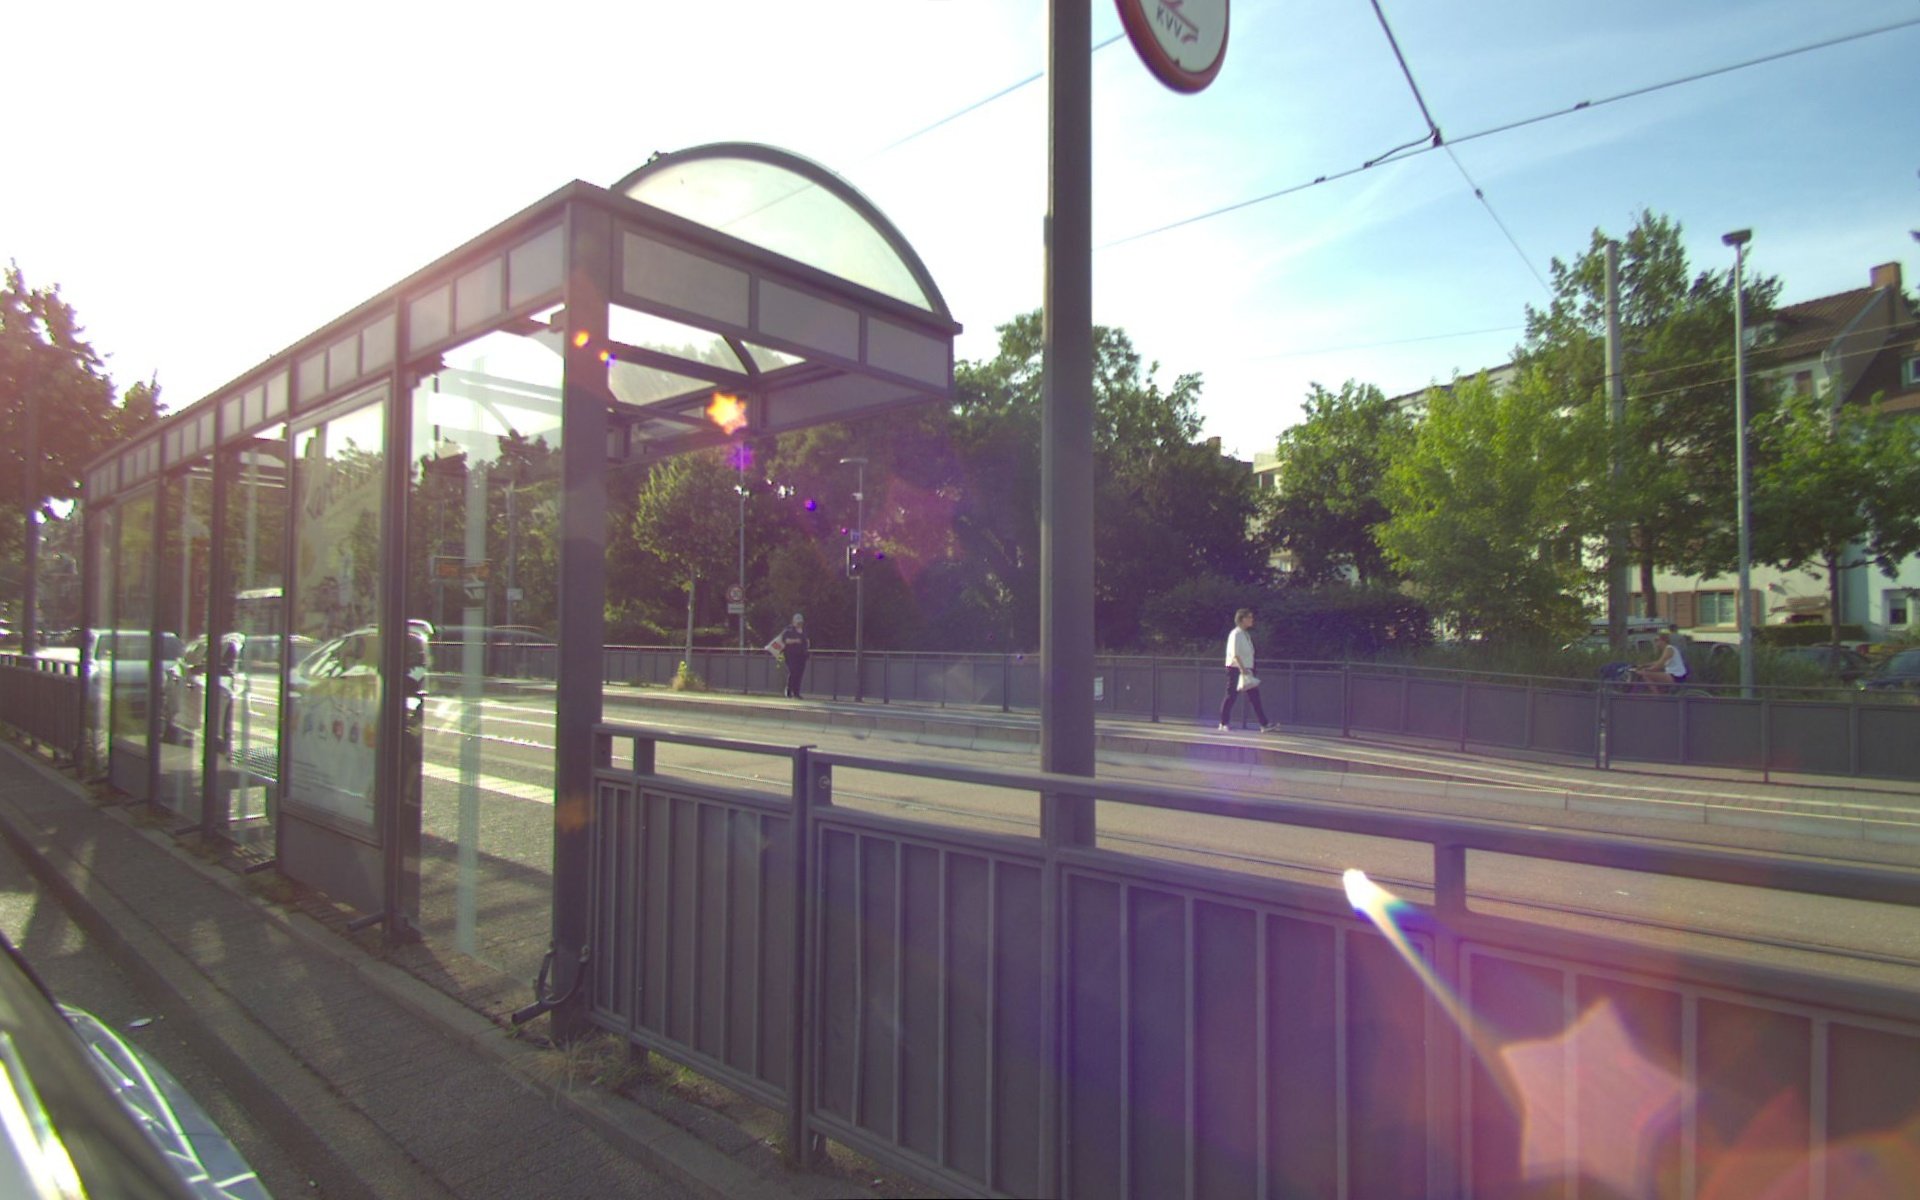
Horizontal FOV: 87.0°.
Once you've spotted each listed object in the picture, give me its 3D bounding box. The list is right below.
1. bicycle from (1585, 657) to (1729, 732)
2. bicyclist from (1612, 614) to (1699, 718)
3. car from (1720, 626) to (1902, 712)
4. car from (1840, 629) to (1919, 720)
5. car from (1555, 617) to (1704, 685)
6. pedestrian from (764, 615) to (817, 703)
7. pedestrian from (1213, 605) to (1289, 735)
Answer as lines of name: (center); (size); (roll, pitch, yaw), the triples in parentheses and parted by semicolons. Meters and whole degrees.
bicycle: (11.539, 1.536, 16.790); (1.864, 1.118, 0.718); (-2, -1, 42)
bicyclist: (11.535, 1.073, 16.790); (1.071, 1.636, 0.697); (-2, -1, 42)
car: (18.998, 1.492, 22.568); (3.931, 1.767, 1.860); (2, -3, -30)
car: (20.210, 1.498, 20.916); (3.931, 1.767, 1.860); (2, -3, -30)
car: (18.453, 1.397, 27.886); (3.931, 1.767, 1.860); (2, -3, -30)
pedestrian: (-3.248, 1.128, 19.441); (0.689, 1.640, 0.727); (-2, -3, 41)
pedestrian: (3.799, 0.897, 13.231); (0.727, 1.640, 0.699); (-2, -3, 41)
